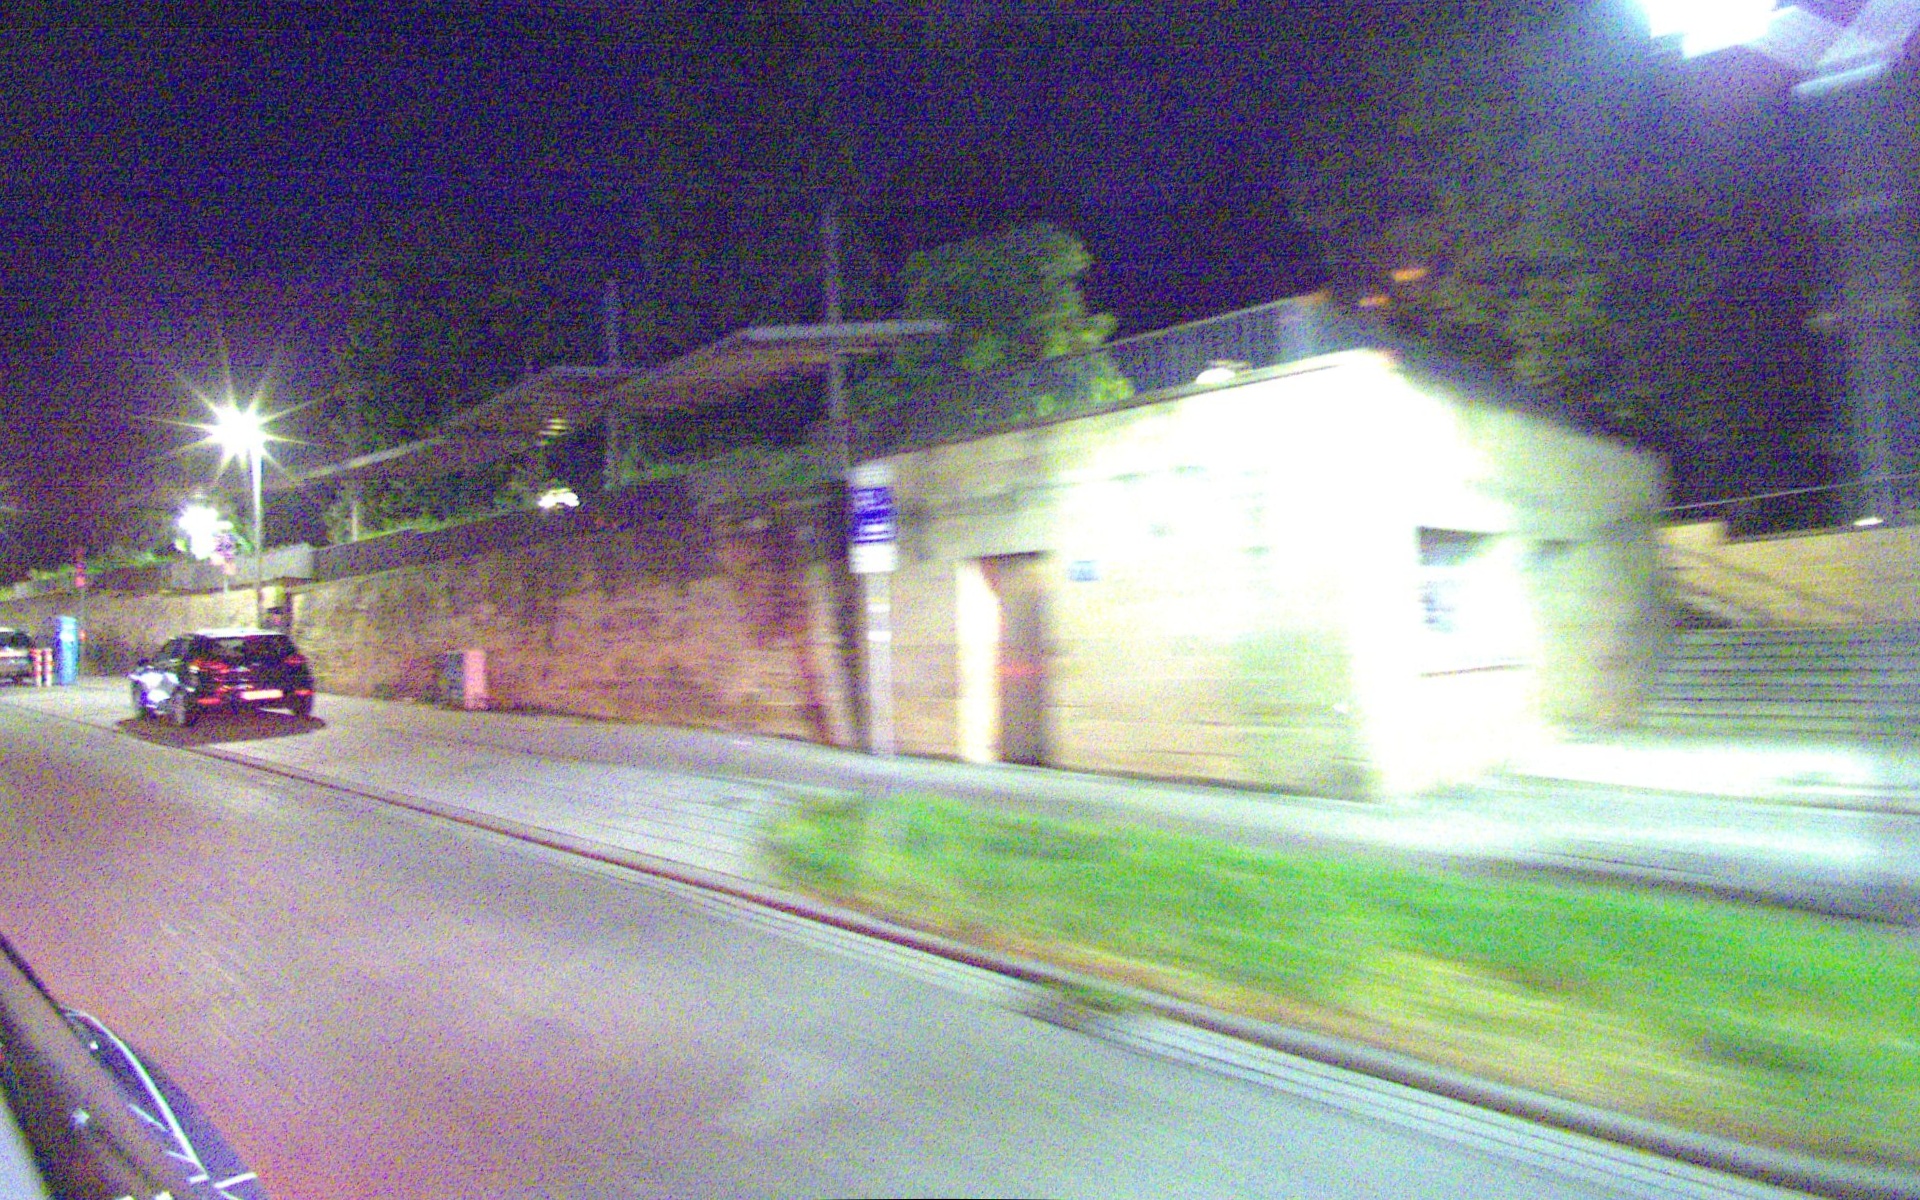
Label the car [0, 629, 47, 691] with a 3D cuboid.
[{"bbox_3d":[-26.331,1.594,27.384,3.683,1.535,1.677,0,0,36],"label":"car"}]

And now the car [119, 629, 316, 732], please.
[{"bbox_3d":[-12.405,1.247,16.813,4.124,1.447,1.675,-2,0,40],"label":"car"}]
